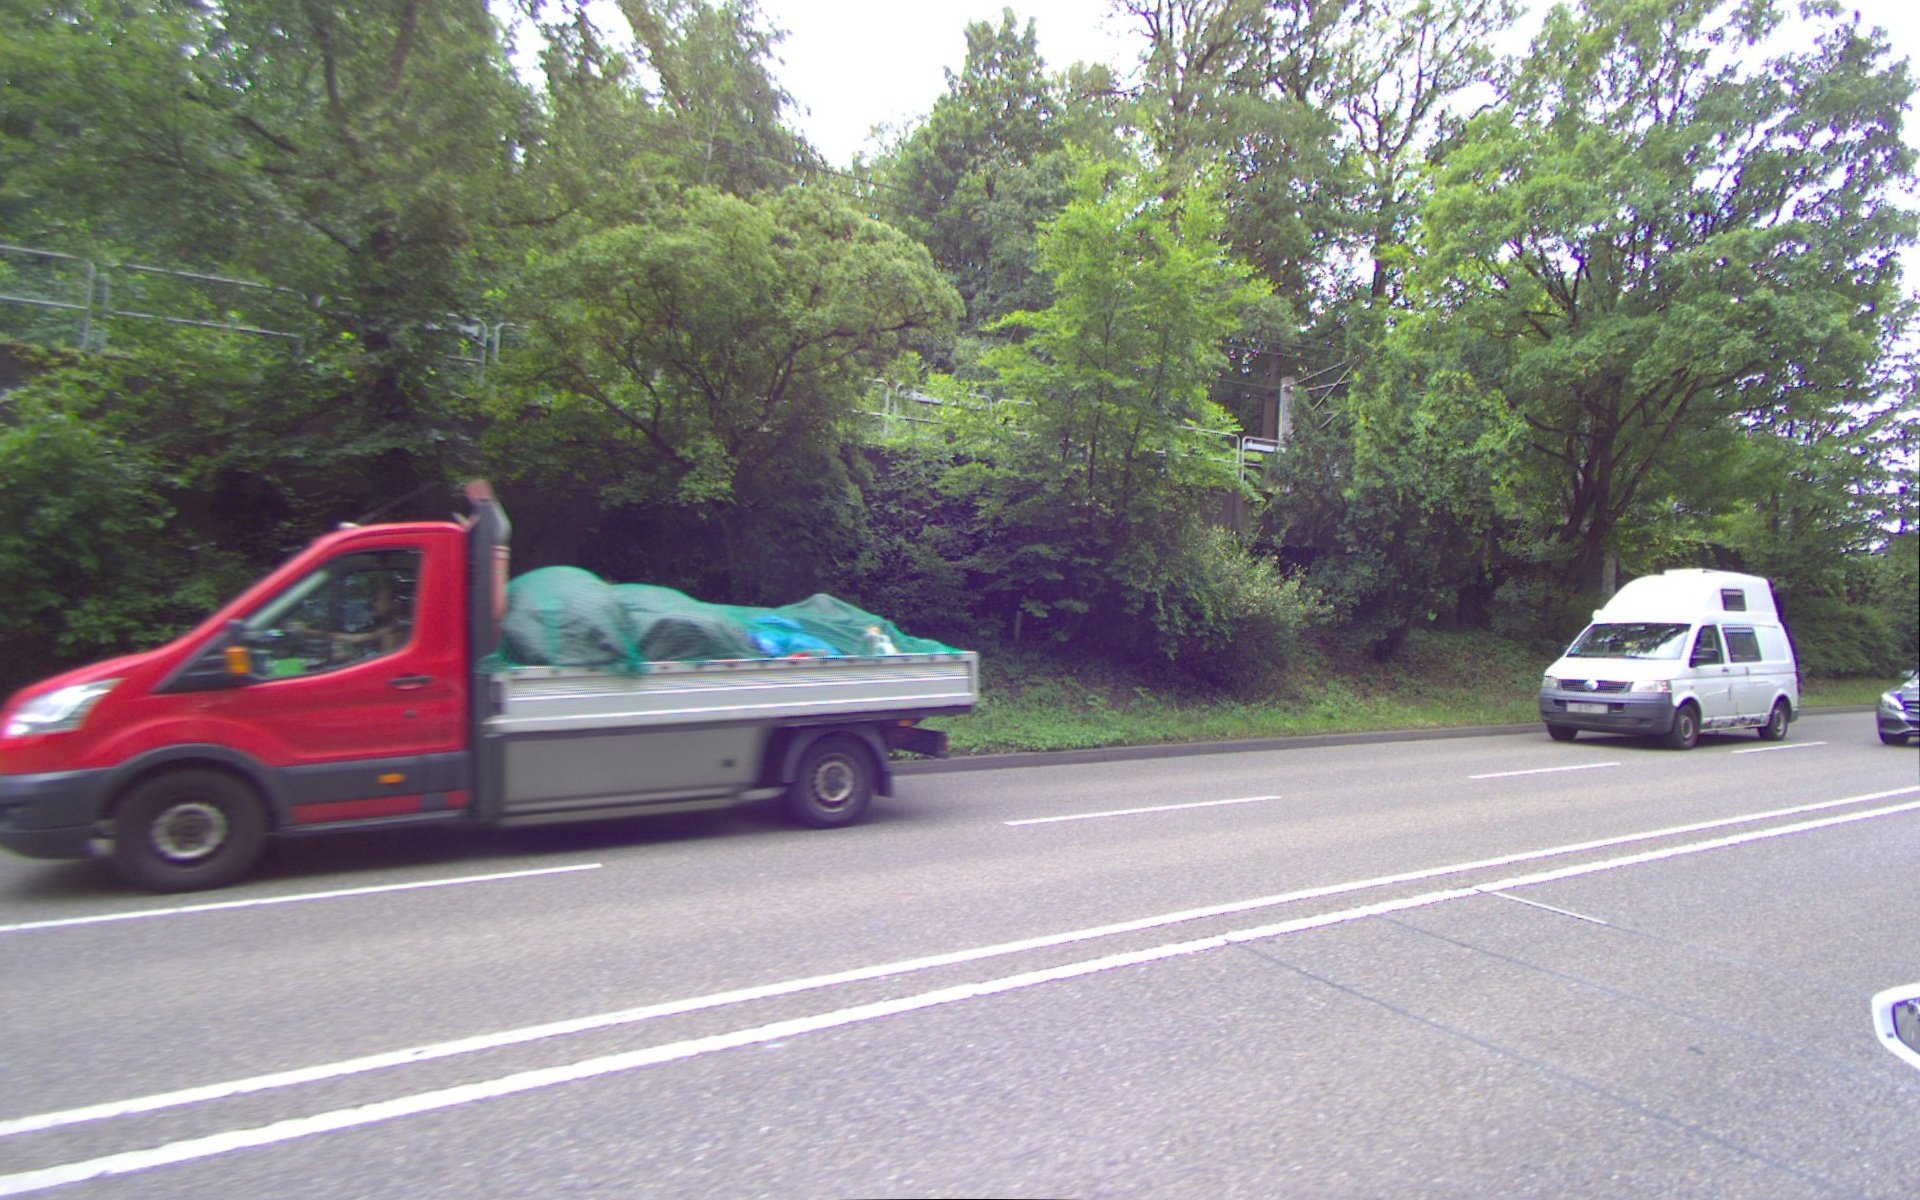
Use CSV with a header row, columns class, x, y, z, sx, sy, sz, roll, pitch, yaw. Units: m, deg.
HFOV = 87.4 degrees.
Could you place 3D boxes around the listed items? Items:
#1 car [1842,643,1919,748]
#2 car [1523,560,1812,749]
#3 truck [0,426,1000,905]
class,x,y,z,sx,sy,sz,roll,pitch,yaw
car,15.560,1.426,15.330,4.414,1.484,1.831,2,-5,-31
car,11.210,0.849,15.834,4.857,2.589,1.878,2,-2,-30
truck,-2.983,0.488,7.456,6.387,2.442,2.168,2,-4,-29
